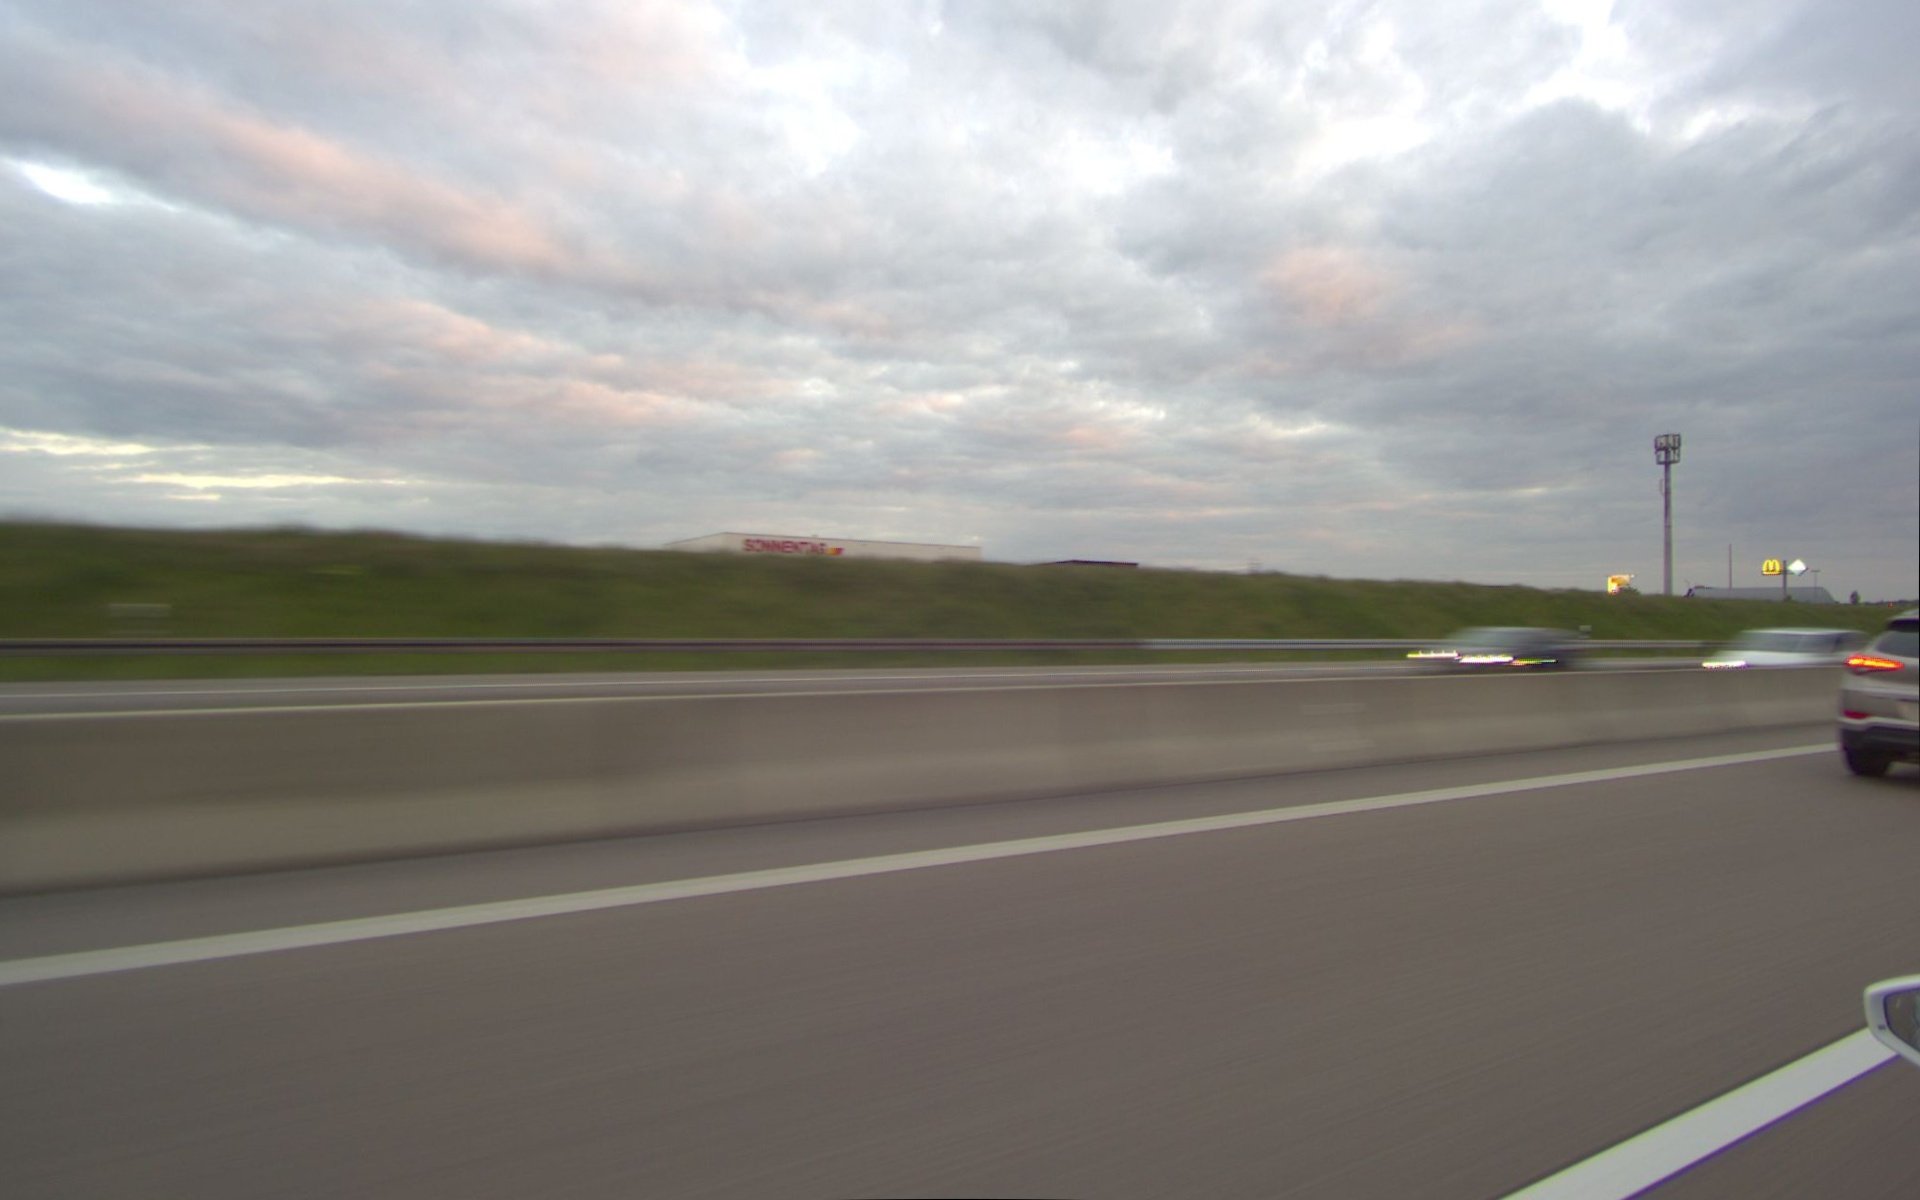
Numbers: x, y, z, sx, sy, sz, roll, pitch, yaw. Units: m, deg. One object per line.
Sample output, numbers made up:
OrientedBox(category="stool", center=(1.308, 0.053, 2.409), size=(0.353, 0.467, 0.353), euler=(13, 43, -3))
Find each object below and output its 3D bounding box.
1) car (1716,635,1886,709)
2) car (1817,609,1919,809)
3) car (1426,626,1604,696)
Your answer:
OrientedBox(category="car", center=(20.833, 1.726, 24.846), size=(4.588, 1.619, 1.741), euler=(1, 0, -30))
OrientedBox(category="car", center=(10.685, 0.987, 9.795), size=(5.447, 1.715, 1.844), euler=(1, -1, -30))
OrientedBox(category="car", center=(14.034, 1.479, 25.359), size=(4.521, 1.608, 1.992), euler=(1, -1, -32))
